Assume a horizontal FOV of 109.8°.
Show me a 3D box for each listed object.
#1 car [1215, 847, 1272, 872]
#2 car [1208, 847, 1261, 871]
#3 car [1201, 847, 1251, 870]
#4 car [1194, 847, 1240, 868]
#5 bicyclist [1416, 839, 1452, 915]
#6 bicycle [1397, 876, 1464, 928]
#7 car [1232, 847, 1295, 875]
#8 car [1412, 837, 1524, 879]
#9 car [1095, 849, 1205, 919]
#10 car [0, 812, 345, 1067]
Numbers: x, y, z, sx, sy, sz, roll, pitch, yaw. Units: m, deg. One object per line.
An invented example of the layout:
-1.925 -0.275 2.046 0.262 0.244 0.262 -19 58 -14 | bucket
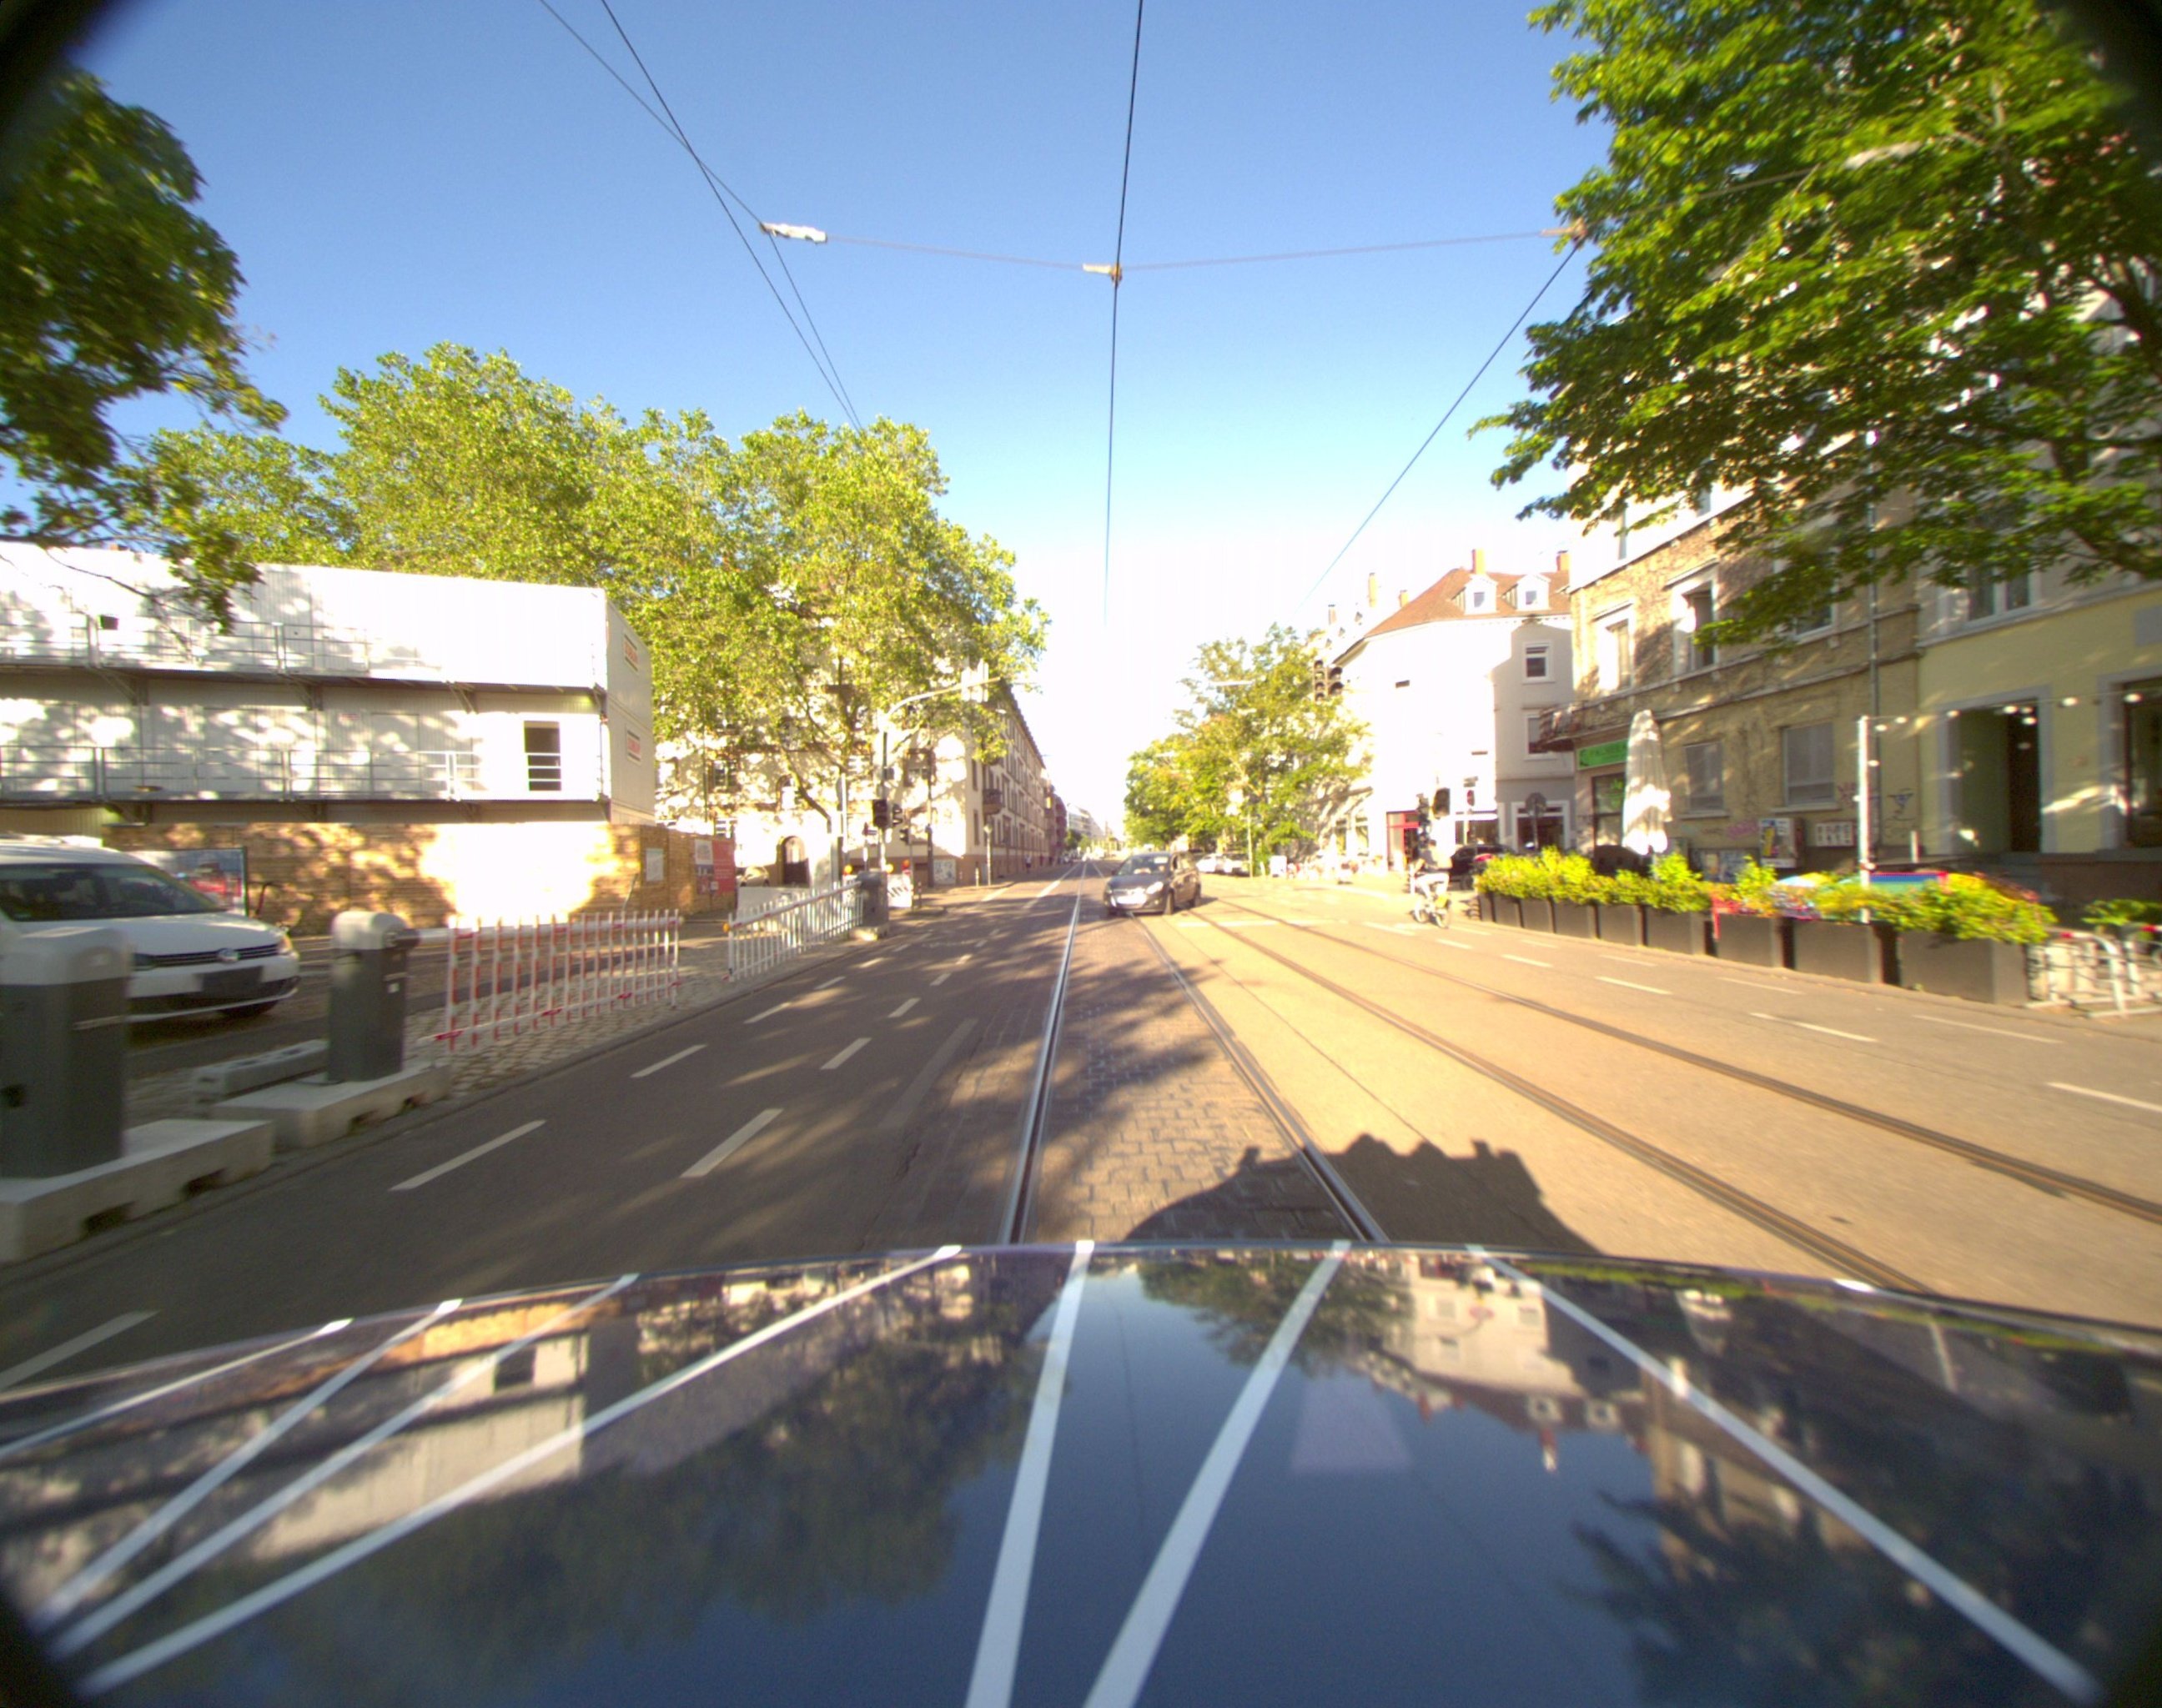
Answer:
10.516 0.343 49.299 3.337 1.445 1.496 -3 2 2 | car
10.550 0.354 52.236 3.337 1.445 1.496 -3 2 3 | car
10.424 0.304 54.700 3.337 1.445 1.496 -3 2 3 | car
10.480 0.246 58.732 3.337 1.445 1.496 -3 2 3 | car
7.022 0.449 15.117 0.419 1.462 0.590 -1 1 -2 | bicyclist
7.015 0.937 15.339 0.451 0.930 1.757 -1 0 -3 | bicycle
10.640 0.399 44.450 3.335 1.445 1.496 -3 2 7 | car
16.832 0.170 33.226 3.993 1.740 2.002 -1 0 13 | car
1.952 0.720 20.200 1.747 1.612 4.176 -2 0 21 | car
-10.222 0.745 7.147 4.793 1.998 2.000 -2 1 5 | car
